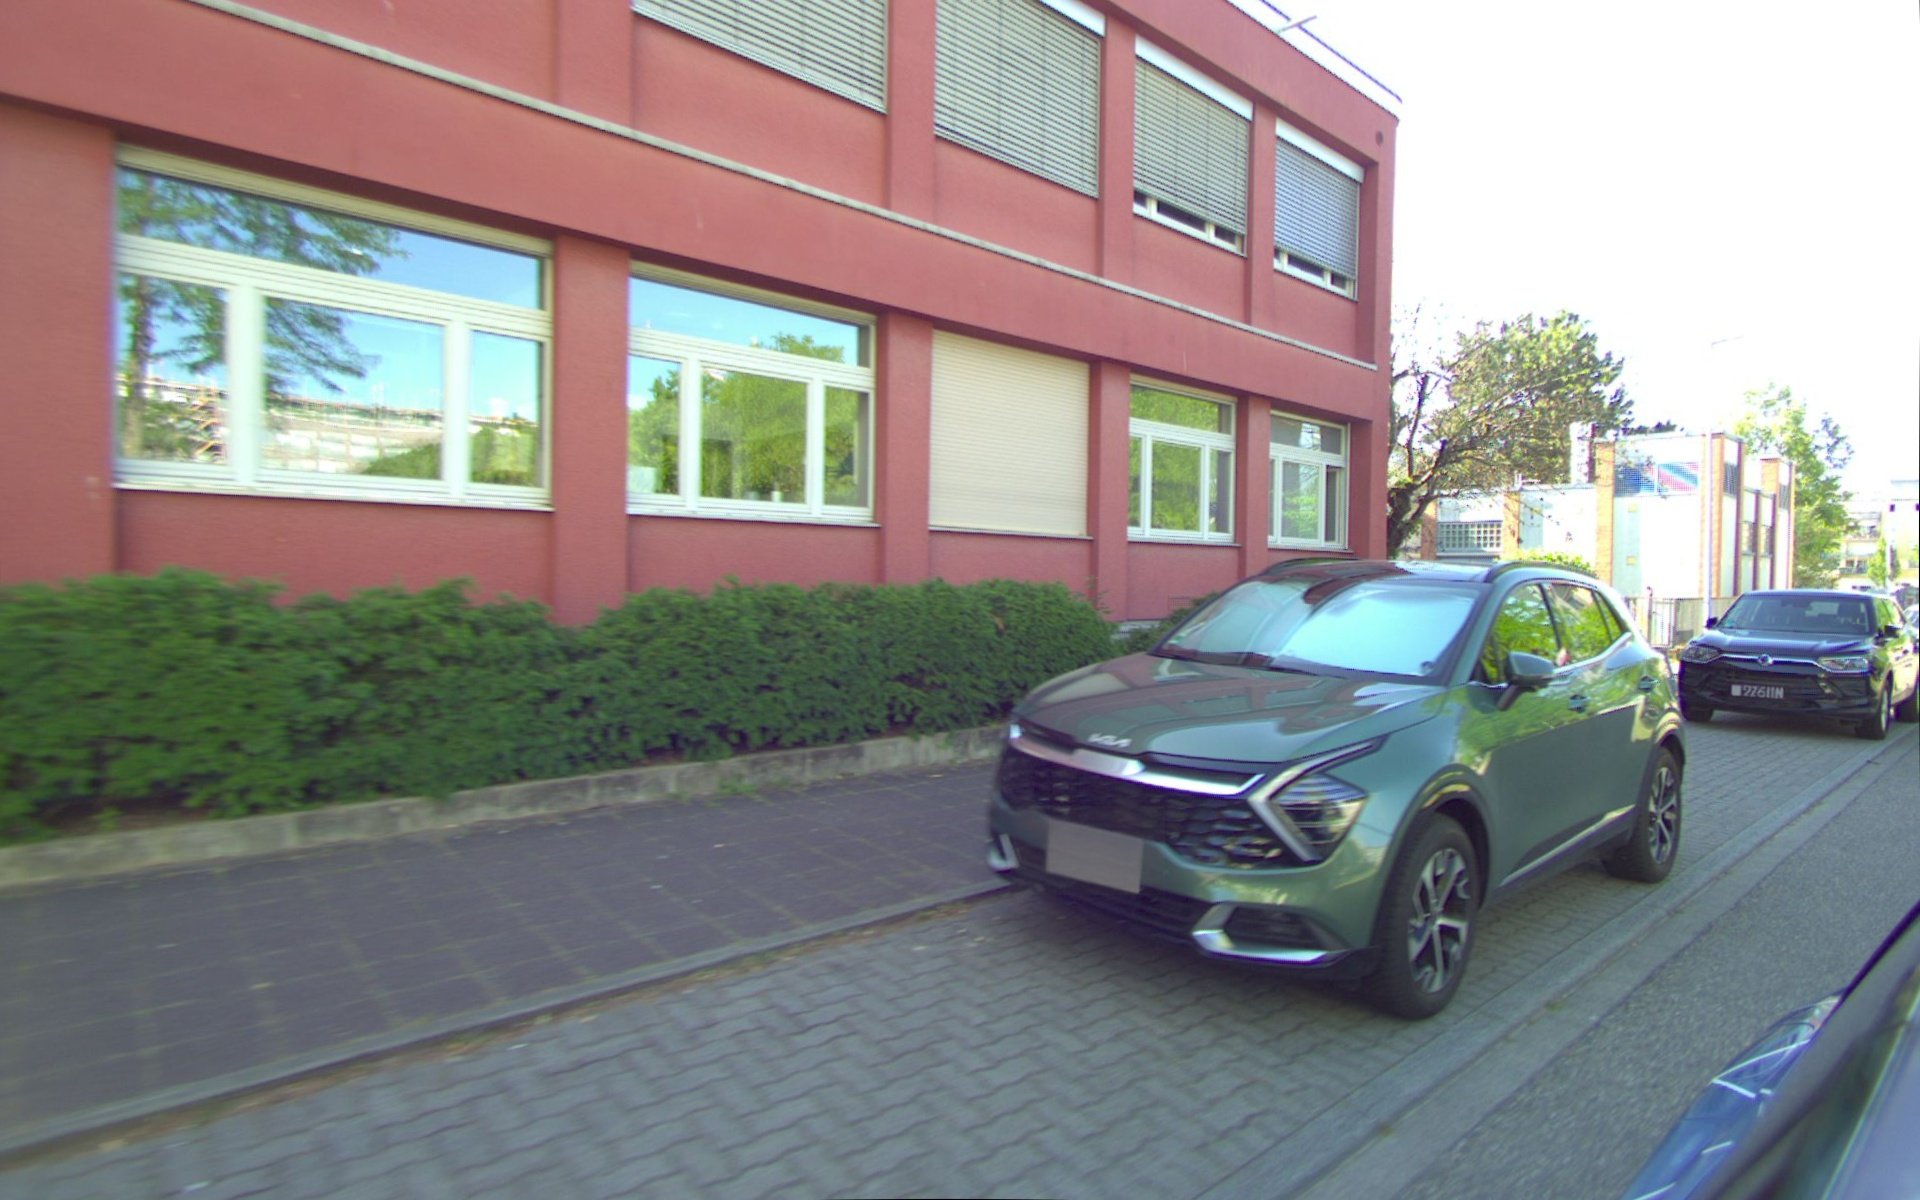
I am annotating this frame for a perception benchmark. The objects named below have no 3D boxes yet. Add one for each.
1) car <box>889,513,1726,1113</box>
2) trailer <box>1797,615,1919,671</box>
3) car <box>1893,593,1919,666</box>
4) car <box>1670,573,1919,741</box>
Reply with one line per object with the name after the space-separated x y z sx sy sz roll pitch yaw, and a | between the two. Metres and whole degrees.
1.955 0.537 4.902 4.295 1.650 1.902 0 2 -41 | car
18.205 0.814 19.643 2.918 0.938 1.571 1 2 -14 | trailer
21.202 0.611 21.409 3.821 1.474 1.699 0 2 -41 | car
10.390 0.539 12.269 4.329 1.650 1.878 0 2 -41 | car
